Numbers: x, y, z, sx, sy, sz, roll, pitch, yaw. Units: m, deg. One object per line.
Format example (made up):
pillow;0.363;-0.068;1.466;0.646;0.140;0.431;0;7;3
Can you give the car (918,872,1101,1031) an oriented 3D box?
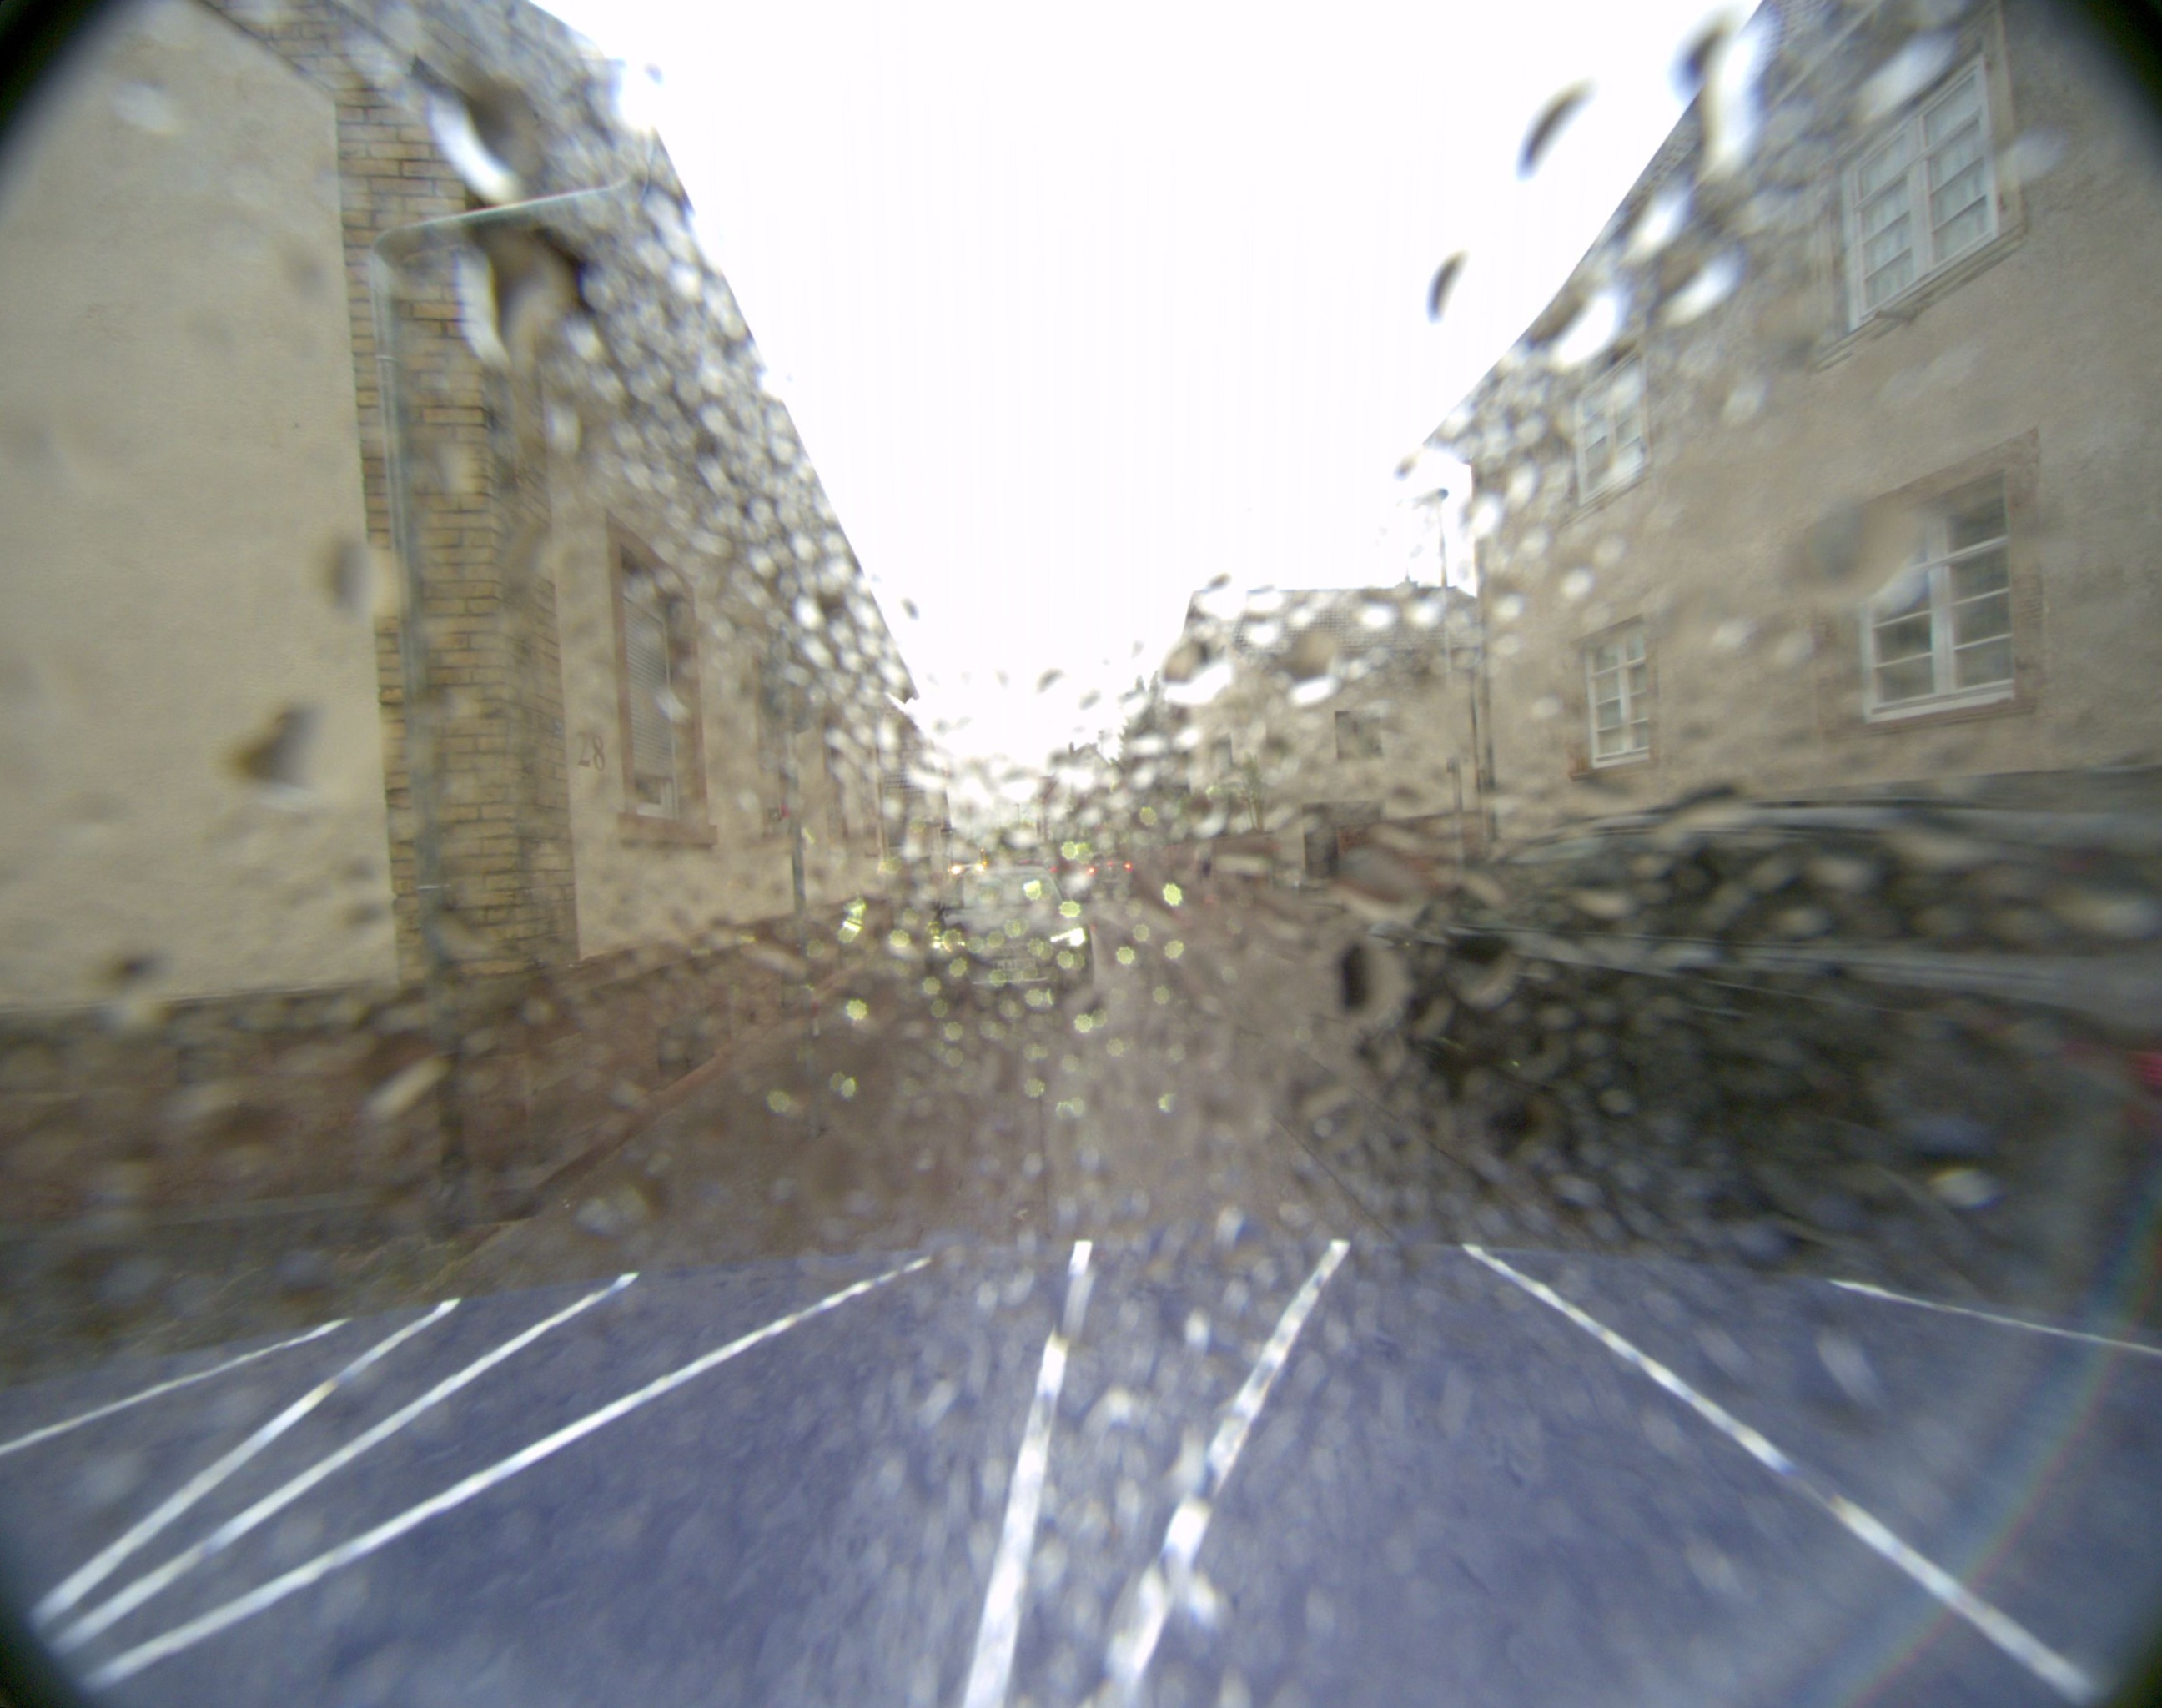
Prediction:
car;-0.927;0.997;9.498;1.740;1.363;4.099;-2;0;-7

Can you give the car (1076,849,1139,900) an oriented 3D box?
car;0.830;0.638;25.827;1.609;1.504;3.686;-4;1;-6

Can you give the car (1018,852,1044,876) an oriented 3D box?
car;-3.643;0.700;55.146;1.627;1.502;3.790;-6;1;-5

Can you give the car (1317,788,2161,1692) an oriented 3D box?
car;2.742;0.665;3.179;1.837;1.547;4.238;-8;1;-3

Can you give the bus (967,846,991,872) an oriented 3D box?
bus;-13.884;0.579;102.700;2.670;3.213;12.180;-2;1;-10

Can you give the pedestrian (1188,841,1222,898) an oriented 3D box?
pedestrian;3.487;0.421;21.379;0.573;1.529;0.832;-5;1;-9

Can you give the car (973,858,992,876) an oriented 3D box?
car;-12.043;1.601;92.870;2.000;2.002;3.996;-2;1;-10

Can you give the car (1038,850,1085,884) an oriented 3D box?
car;-1.018;0.575;36.471;1.701;1.500;4.338;-2;1;-8

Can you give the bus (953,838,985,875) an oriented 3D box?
bus;-10.919;0.204;73.121;2.670;3.213;12.180;-2;1;-10

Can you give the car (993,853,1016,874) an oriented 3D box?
car;-6.790;0.817;67.112;1.786;1.655;4.423;-5;1;-6
